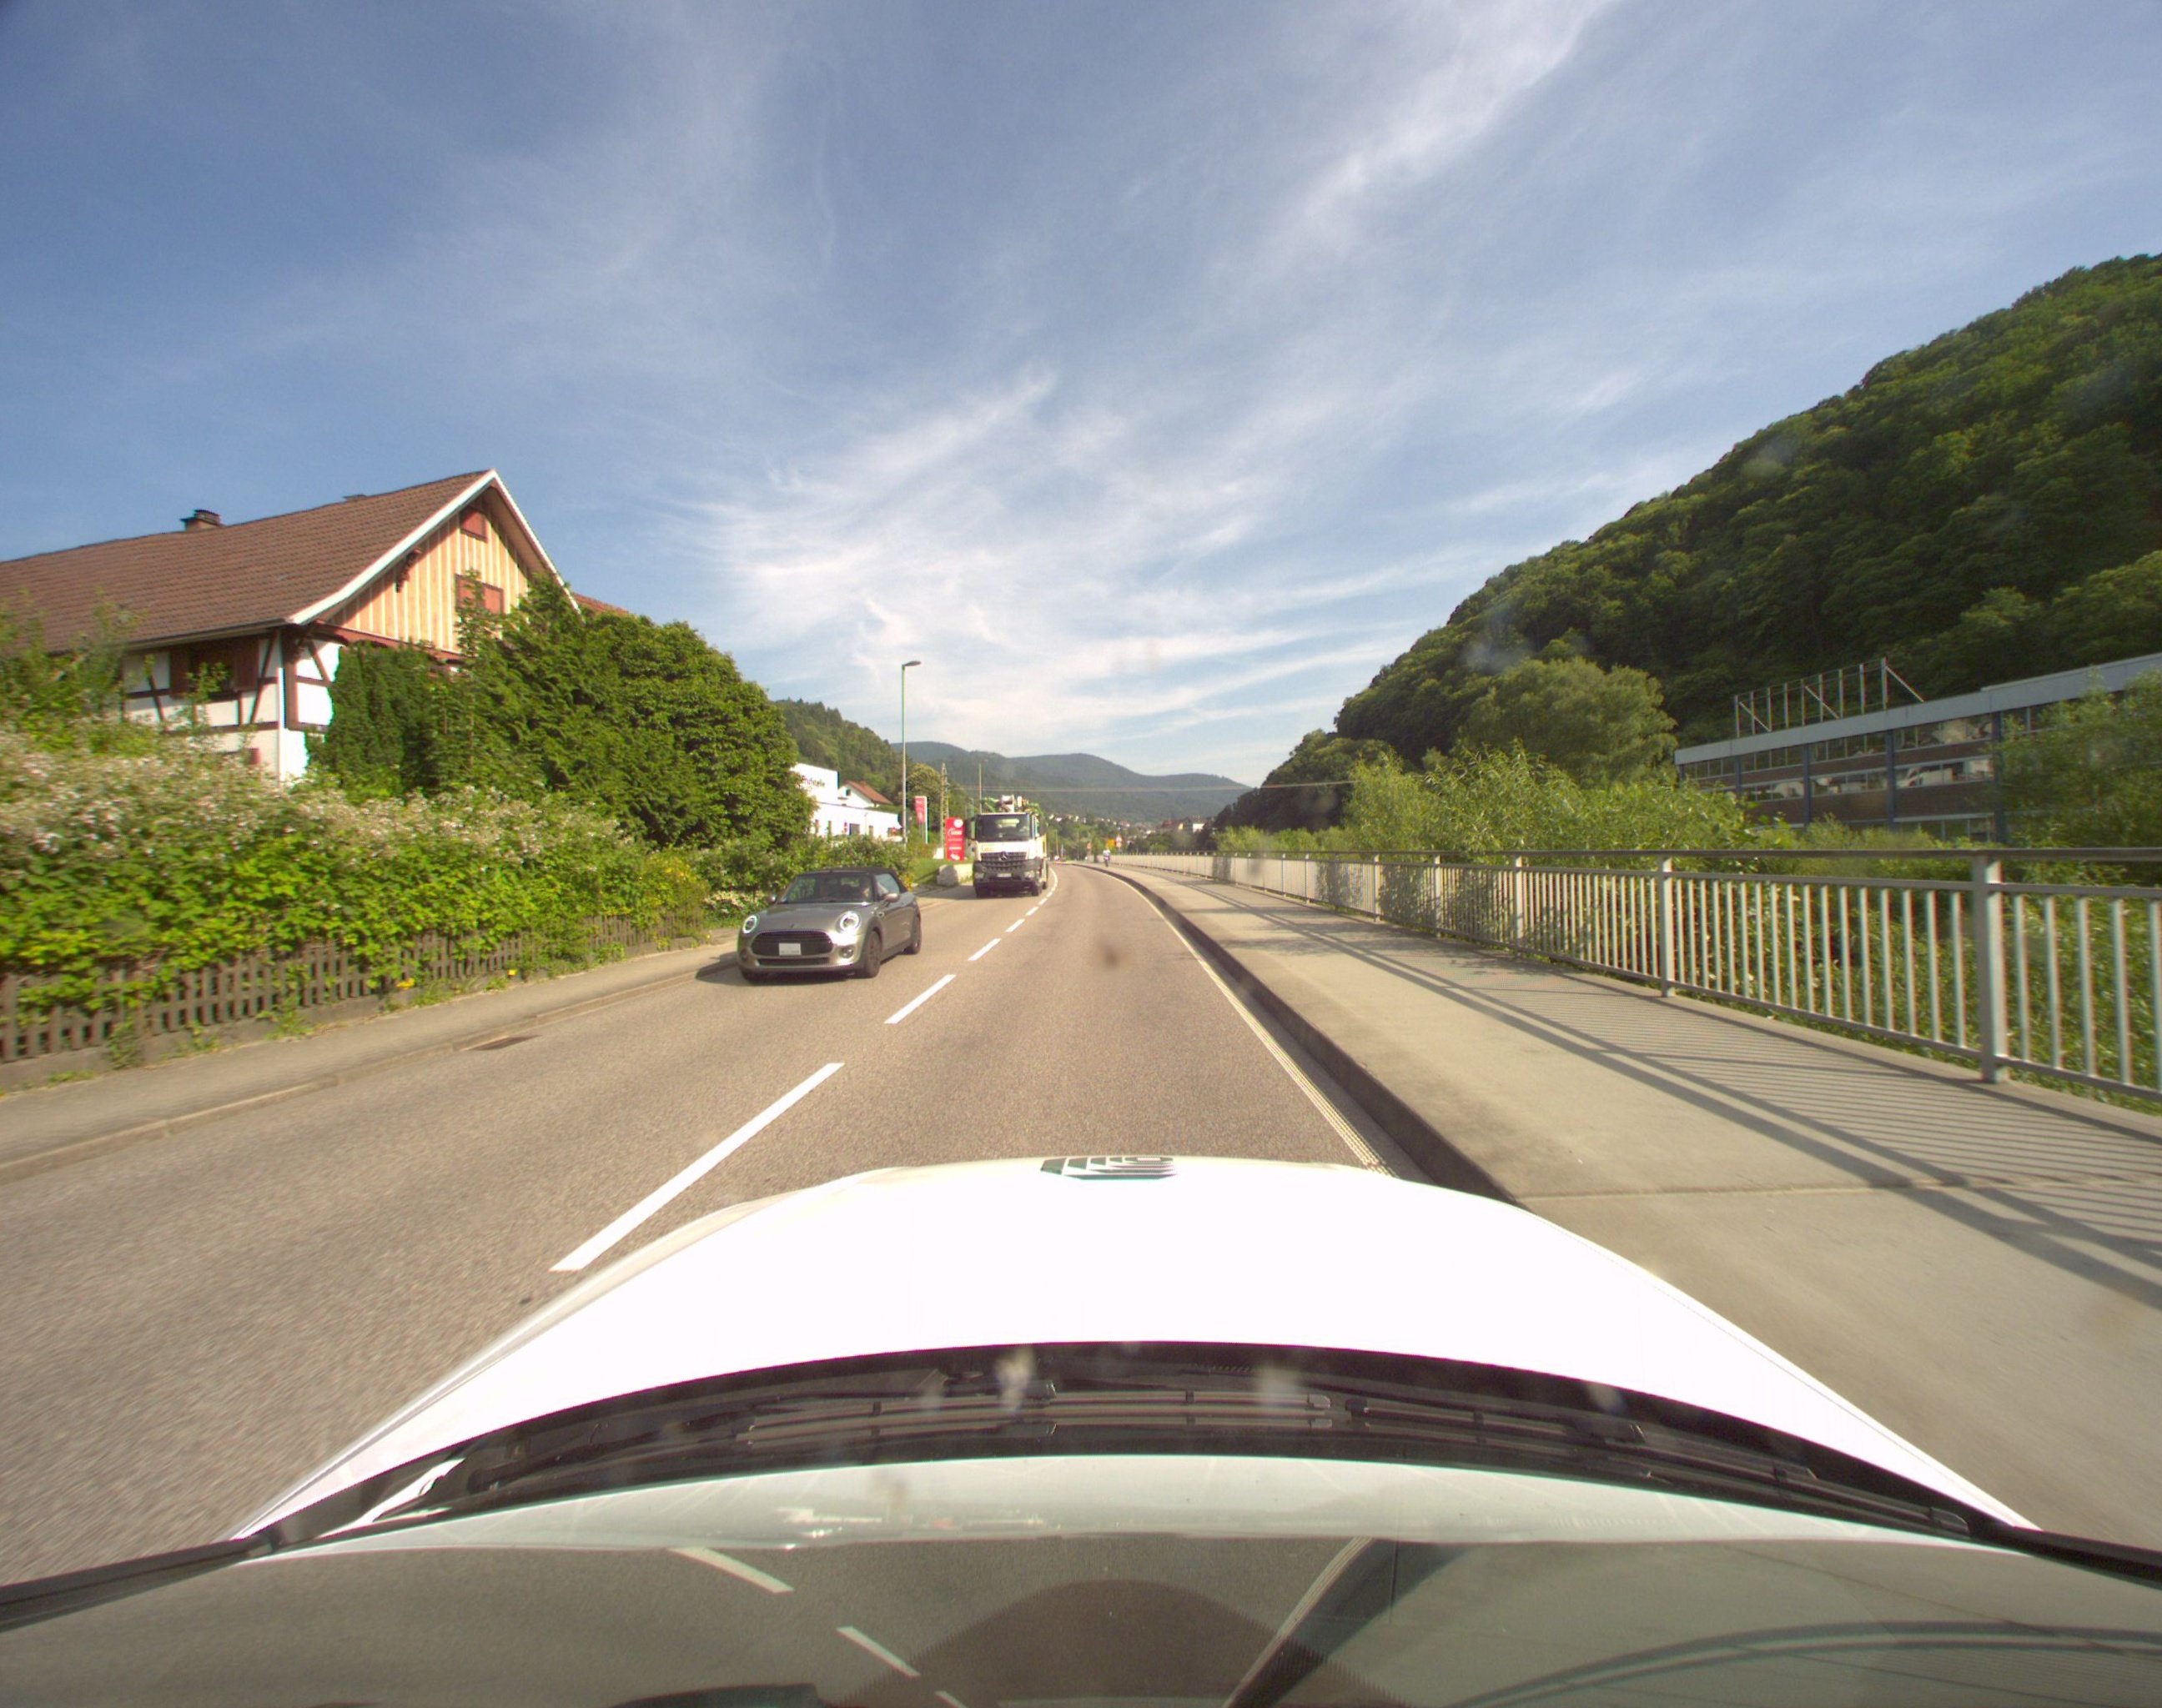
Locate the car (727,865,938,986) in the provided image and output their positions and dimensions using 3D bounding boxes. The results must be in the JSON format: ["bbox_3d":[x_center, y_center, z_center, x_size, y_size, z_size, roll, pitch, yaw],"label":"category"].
[{"bbox_3d":[-3.349,0.888,11.807,1.707,1.403,4.001,-1,-1,2],"label":"car"}]

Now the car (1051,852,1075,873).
[{"bbox_3d":[-1.323,0.651,62.280,1.744,1.504,4.189,-2,0,-1],"label":"car"}]

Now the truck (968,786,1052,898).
[{"bbox_3d":[-2.740,-0.415,34.835,2.570,3.931,11.301,-2,0,-1],"label":"truck"}]
